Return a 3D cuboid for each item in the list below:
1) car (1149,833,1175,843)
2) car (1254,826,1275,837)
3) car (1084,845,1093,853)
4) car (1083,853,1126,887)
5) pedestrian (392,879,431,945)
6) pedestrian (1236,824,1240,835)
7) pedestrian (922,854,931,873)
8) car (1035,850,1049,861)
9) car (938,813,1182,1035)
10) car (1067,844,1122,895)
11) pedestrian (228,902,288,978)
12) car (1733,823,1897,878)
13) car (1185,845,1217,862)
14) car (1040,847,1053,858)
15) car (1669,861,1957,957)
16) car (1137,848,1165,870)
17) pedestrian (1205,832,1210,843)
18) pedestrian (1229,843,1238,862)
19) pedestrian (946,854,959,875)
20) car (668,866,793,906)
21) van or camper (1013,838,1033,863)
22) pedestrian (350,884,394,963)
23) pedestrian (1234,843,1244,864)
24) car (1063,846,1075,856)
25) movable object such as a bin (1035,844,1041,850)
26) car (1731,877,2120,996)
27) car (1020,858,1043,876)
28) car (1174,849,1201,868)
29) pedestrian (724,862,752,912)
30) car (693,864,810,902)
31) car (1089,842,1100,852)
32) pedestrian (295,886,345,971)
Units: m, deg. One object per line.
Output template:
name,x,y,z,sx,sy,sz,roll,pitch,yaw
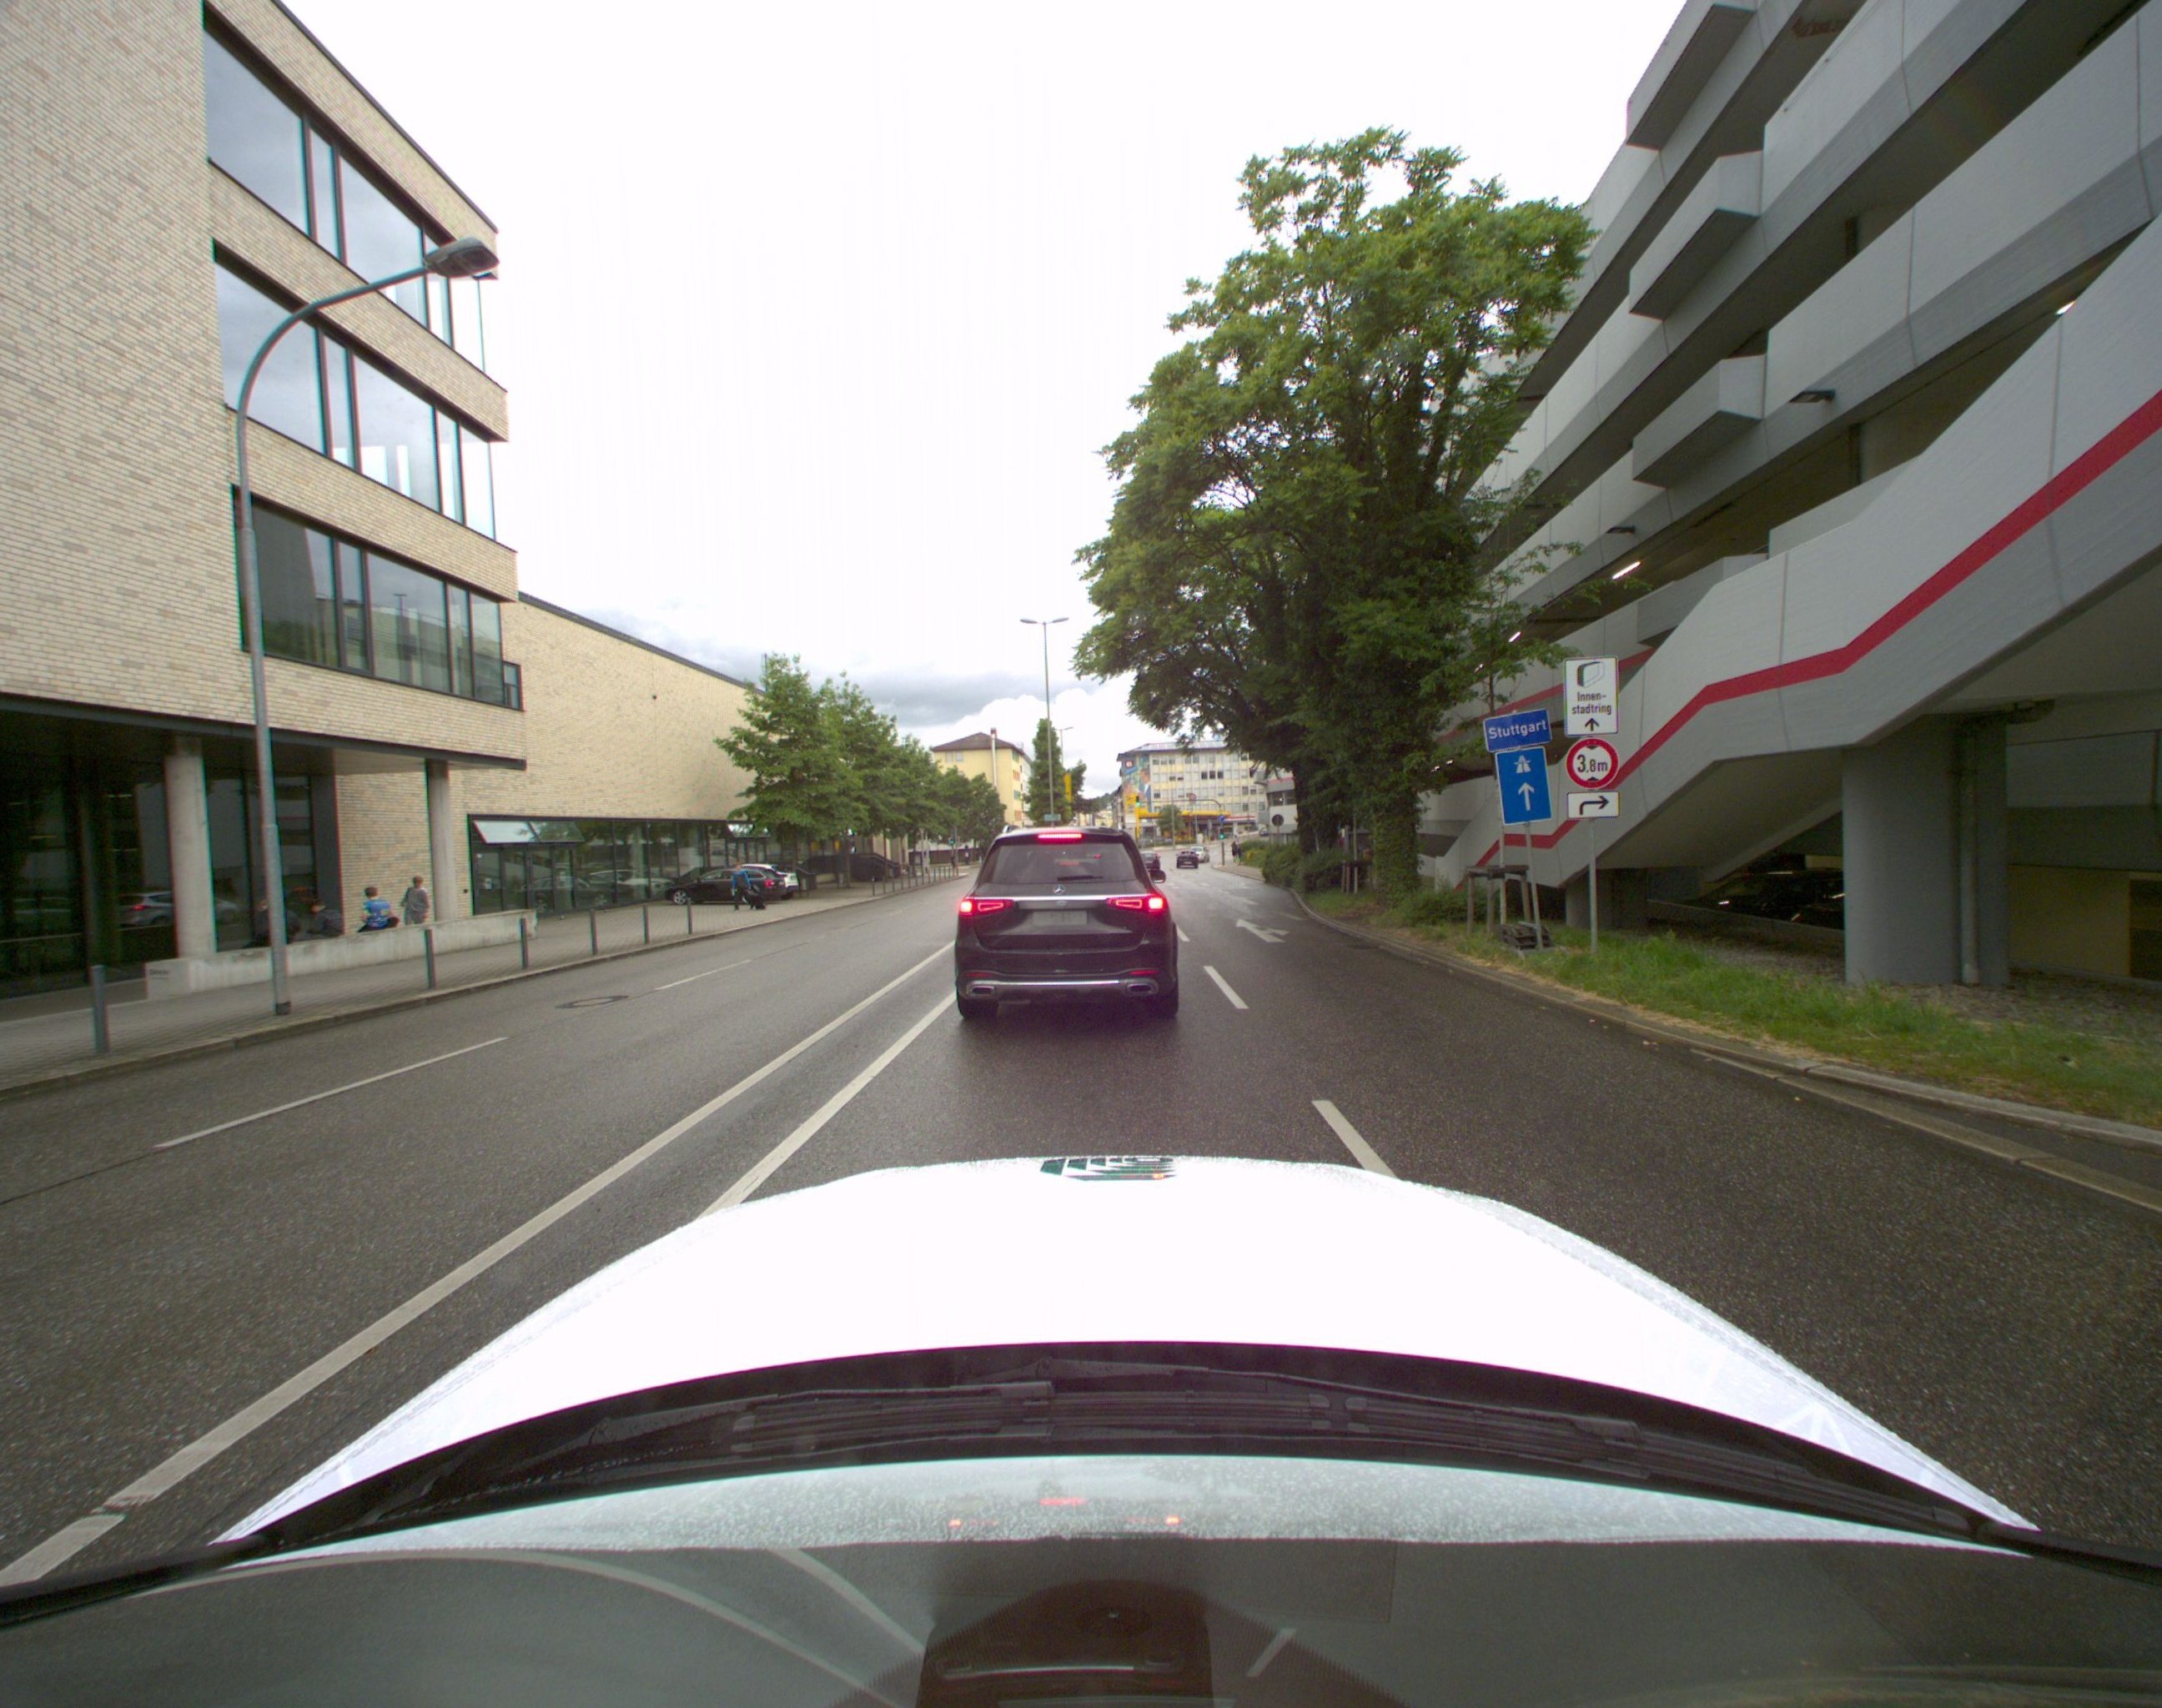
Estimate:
car,12.774,-2.515,128.511,1.747,1.376,3.952,-4,1,-42
car,31.102,-3.809,137.864,1.974,1.705,4.026,-2,1,35
car,1.859,-1.154,192.632,1.985,2.014,4.003,0,-1,3
car,1.100,0.708,37.856,1.900,1.501,4.001,0,-1,2
pedestrian,-15.237,1.308,18.547,0.440,1.475,0.528,0,-1,-3
pedestrian,26.267,-4.115,136.270,0.521,1.727,0.693,-2,1,28
pedestrian,-13.856,0.844,73.095,0.641,1.665,1.017,0,-1,-4
car,-5.502,0.230,113.978,1.792,1.495,3.802,0,-1,-1
car,-0.110,0.588,8.649,1.986,1.800,4.001,0,-1,2
car,0.548,0.574,31.274,1.986,1.800,4.001,0,-1,2
pedestrian,-13.589,1.411,13.453,0.546,1.215,0.422,0,-1,4
car,26.206,-0.119,29.231,3.958,1.783,1.823,-2,0,14
car,11.397,-0.009,77.113,1.738,1.549,4.024,-1,-1,27
car,-5.240,-0.239,123.657,1.900,1.703,3.998,0,-1,-1
car,13.733,1.008,15.499,3.713,1.540,1.815,-1,3,7
car,5.072,0.336,59.449,1.789,1.525,4.058,0,1,2
pedestrian,18.636,-2.447,120.108,0.570,1.697,0.631,0,-1,3
pedestrian,13.701,-0.115,73.166,0.716,1.690,0.455,0,-1,-5
pedestrian,-10.617,0.879,67.310,0.948,1.704,0.709,0,-1,-16
car,-14.029,1.257,32.773,4.169,1.495,1.997,0,-1,-5
van or camper,-6.632,-0.365,93.732,2.097,2.582,5.901,-4,0,-3
pedestrian,-13.632,1.326,15.669,0.448,1.475,0.463,0,-1,-4
pedestrian,12.687,-0.027,65.255,0.639,1.710,0.474,-2,-1,38
car,-2.012,-0.489,136.001,1.900,1.703,3.998,0,-1,-1
movable object such as a bin,-7.485,-1.142,141.541,0.906,1.038,0.844,0,-1,2
car,12.941,1.238,12.742,3.966,1.624,1.842,-1,0,6
car,-4.494,1.136,74.517,1.735,1.470,3.882,-4,0,0
car,8.564,0.369,65.675,1.937,1.486,4.004,0,-1,4
pedestrian,-11.940,1.141,28.374,0.632,1.714,0.705,0,-1,4
car,-14.126,1.233,35.081,4.158,1.547,2.002,0,-1,3
car,2.727,-1.442,165.576,1.985,2.014,4.003,0,-1,3
pedestrian,-13.528,1.309,14.481,0.448,1.475,0.463,0,-1,-4
